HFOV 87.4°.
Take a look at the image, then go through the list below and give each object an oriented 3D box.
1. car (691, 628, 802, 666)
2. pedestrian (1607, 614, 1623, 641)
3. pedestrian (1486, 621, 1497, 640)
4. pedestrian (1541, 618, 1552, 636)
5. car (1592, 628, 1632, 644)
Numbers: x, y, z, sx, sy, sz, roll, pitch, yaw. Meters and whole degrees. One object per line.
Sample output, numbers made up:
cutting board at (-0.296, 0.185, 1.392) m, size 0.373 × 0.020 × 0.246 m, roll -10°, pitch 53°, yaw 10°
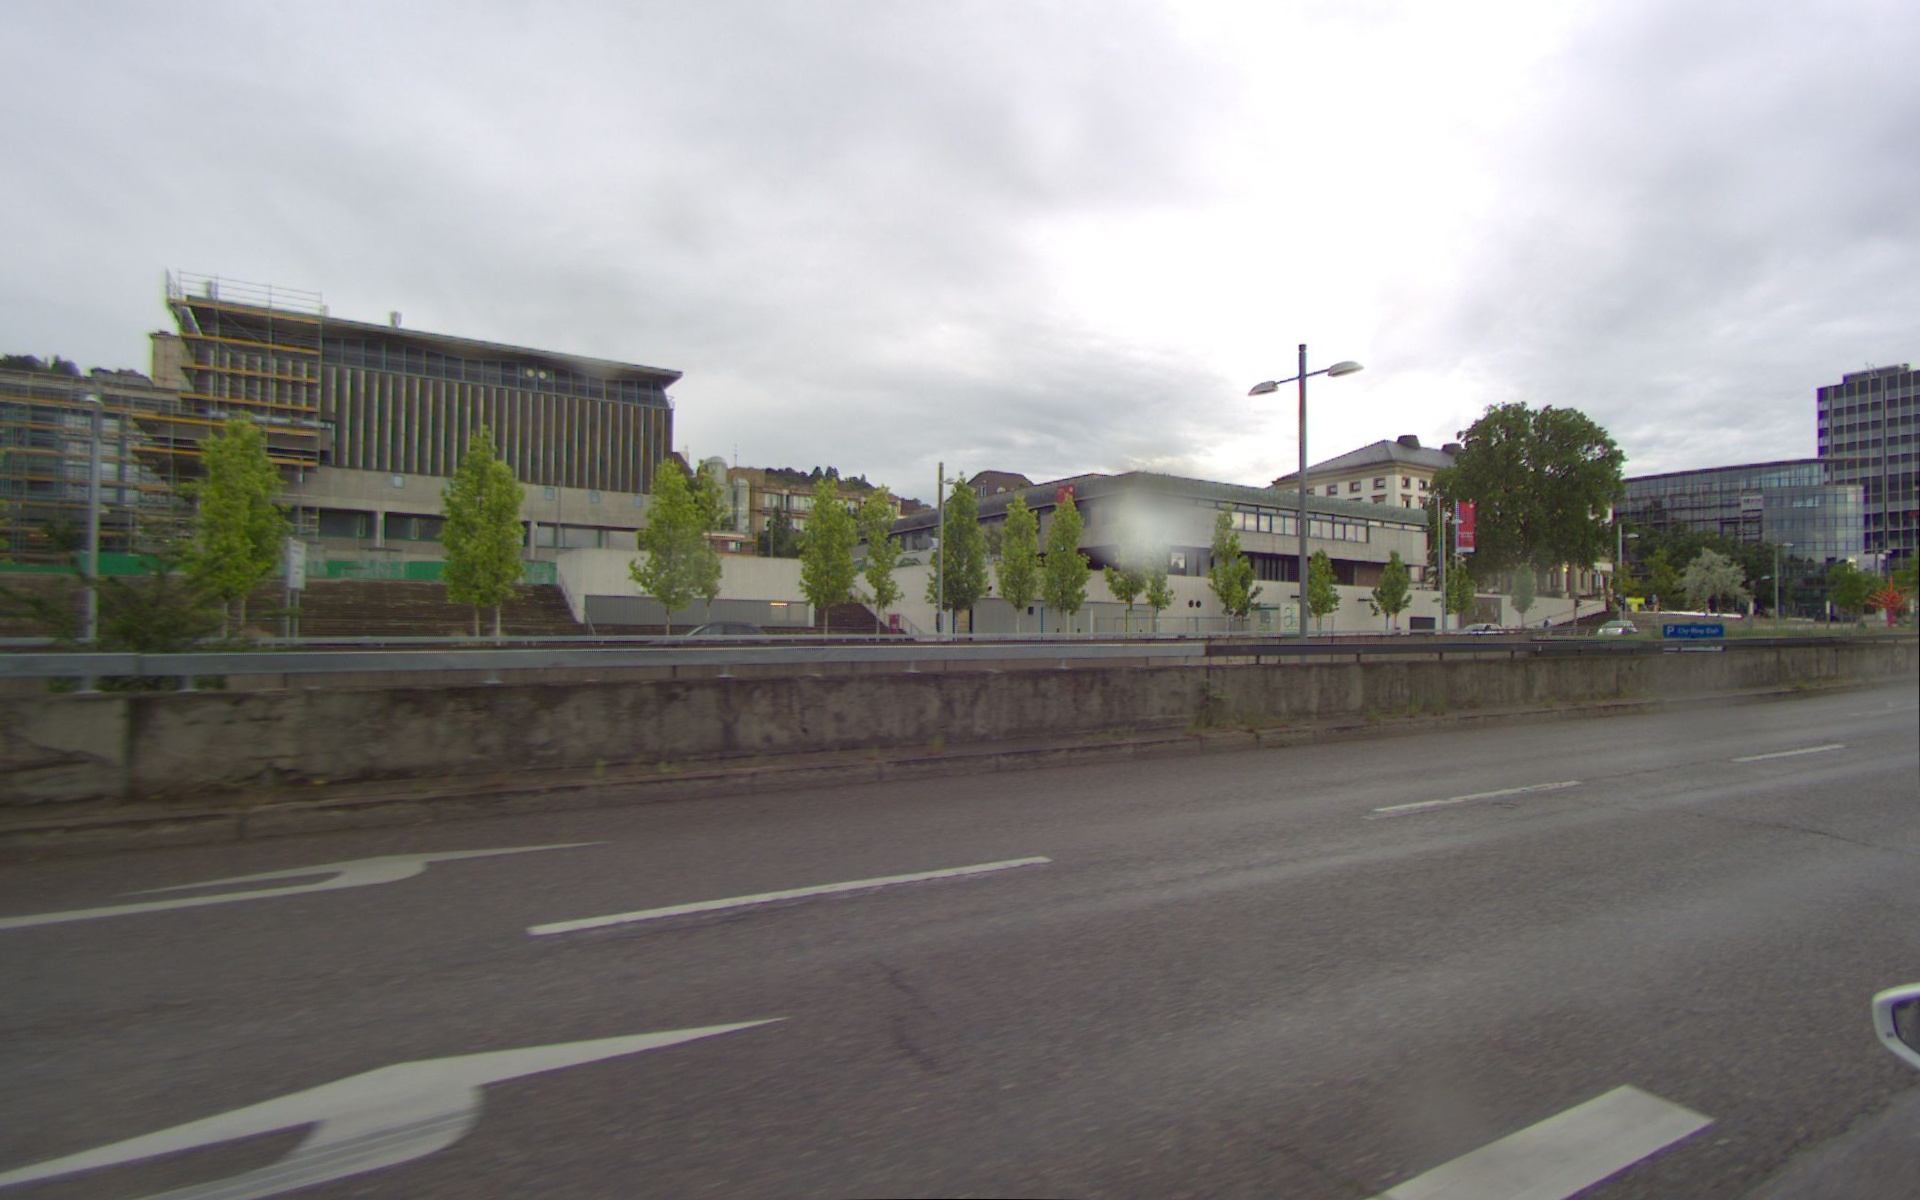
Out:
car at (-7.529, 1.651, 35.471) m, size 3.504 × 1.243 × 1.556 m, roll 2°, pitch -1°, yaw -33°
pedestrian at (52.241, 2.186, 80.141) m, size 0.718 × 2.120 × 0.763 m, roll -5°, pitch 3°, yaw -32°
pedestrian at (39.688, 2.311, 75.035) m, size 0.566 × 1.401 × 0.467 m, roll 2°, pitch -1°, yaw -10°
pedestrian at (47.739, 2.206, 81.723) m, size 0.625 × 1.441 × 0.489 m, roll 2°, pitch -1°, yaw -30°
car at (48.528, 2.688, 74.752) m, size 2.988 × 1.129 × 1.432 m, roll 2°, pitch -1°, yaw -33°
